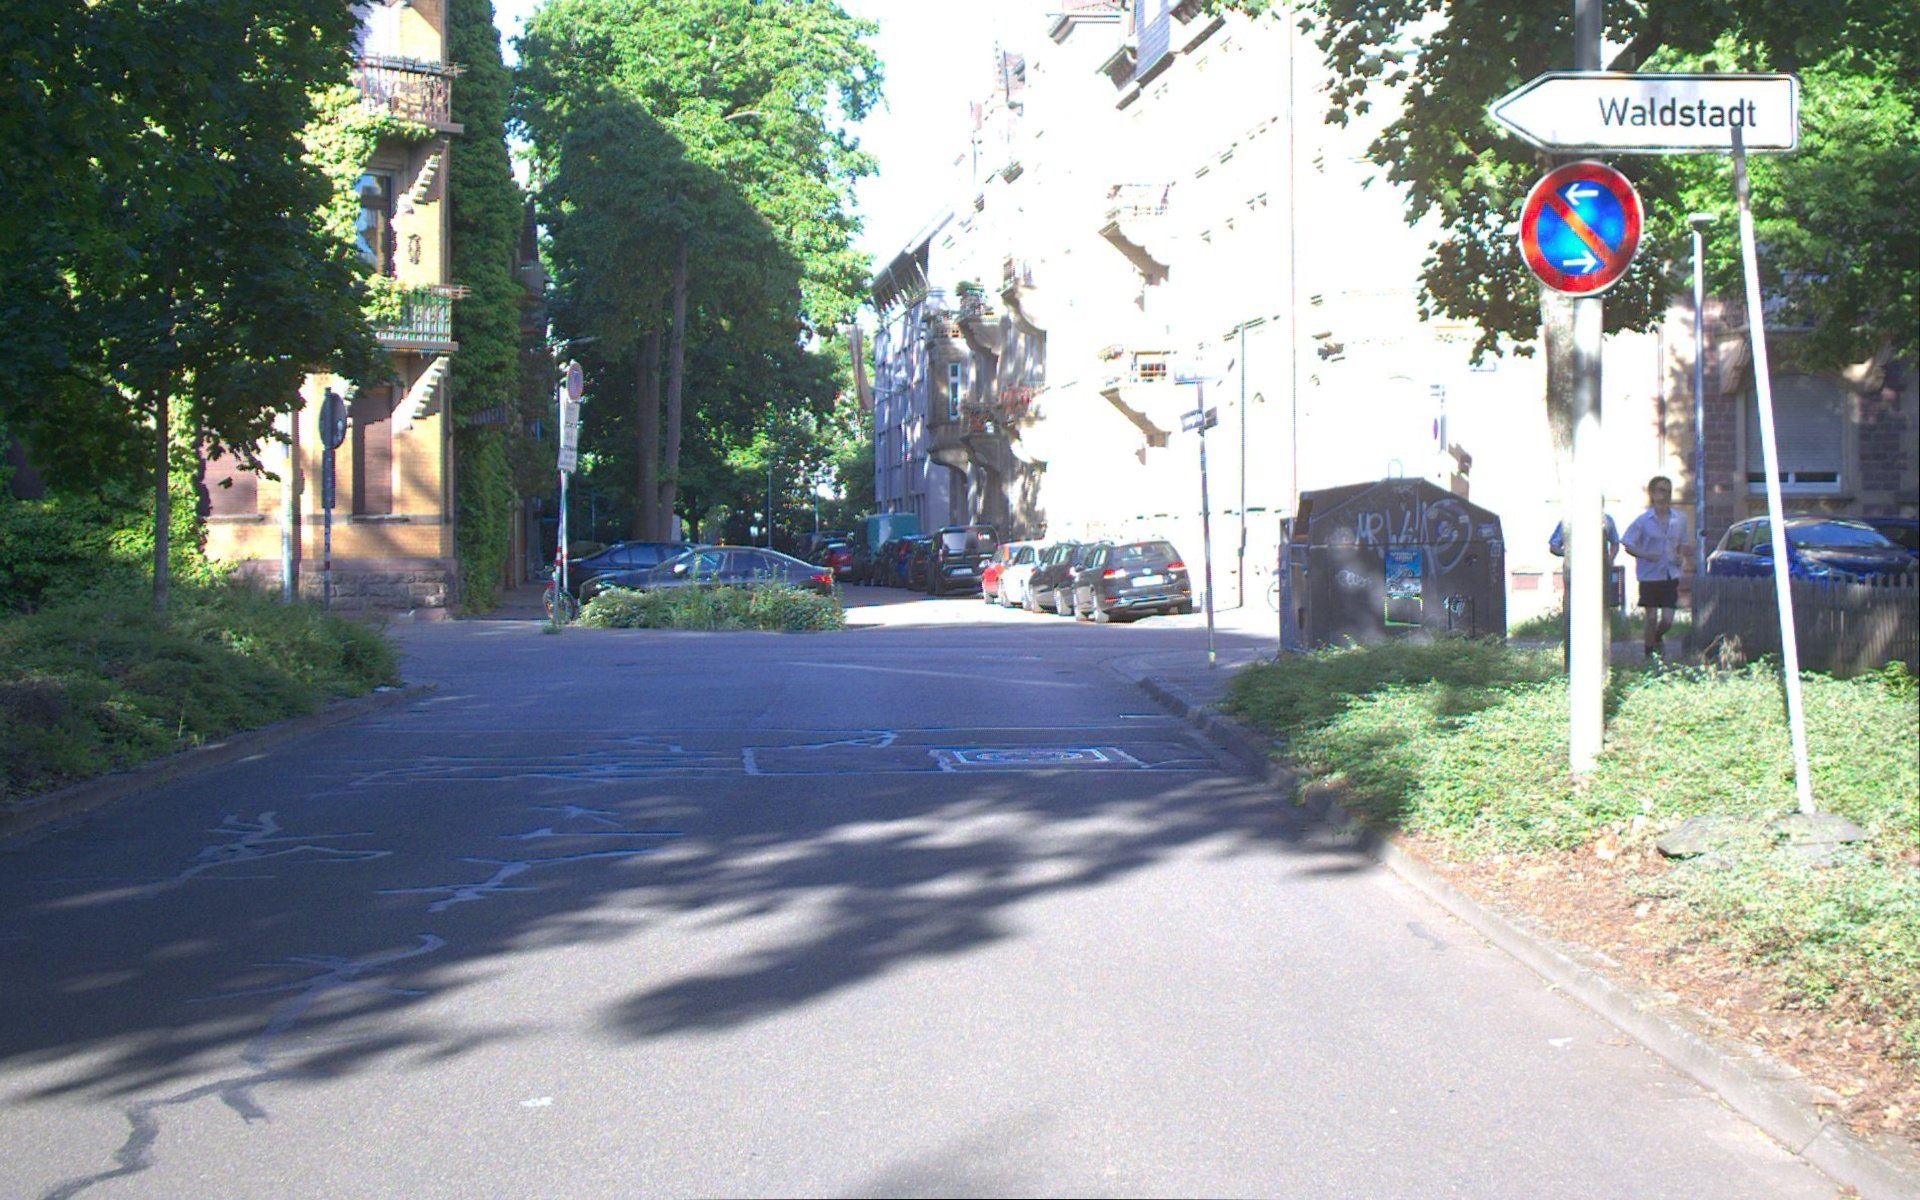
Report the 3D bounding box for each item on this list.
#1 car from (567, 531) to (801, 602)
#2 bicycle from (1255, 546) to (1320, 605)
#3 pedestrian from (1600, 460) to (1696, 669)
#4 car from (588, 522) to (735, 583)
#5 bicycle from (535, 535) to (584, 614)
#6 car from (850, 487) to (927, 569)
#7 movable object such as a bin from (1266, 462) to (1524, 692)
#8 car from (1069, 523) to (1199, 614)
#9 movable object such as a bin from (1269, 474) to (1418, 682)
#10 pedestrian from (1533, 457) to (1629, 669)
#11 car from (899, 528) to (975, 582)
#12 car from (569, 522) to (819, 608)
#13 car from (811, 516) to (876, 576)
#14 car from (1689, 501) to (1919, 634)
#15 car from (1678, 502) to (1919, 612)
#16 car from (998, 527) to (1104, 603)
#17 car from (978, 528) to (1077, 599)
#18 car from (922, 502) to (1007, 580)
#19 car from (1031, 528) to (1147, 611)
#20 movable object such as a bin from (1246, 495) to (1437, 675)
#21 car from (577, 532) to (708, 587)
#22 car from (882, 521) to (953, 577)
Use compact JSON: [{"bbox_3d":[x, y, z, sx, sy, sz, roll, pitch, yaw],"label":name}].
[{"bbox_3d":[-5.849,-0.708,72.682,4.833,1.430,1.710,1,1,-7],"label":"car"},{"bbox_3d":[5.600,-0.422,58.774,0.514,0.994,1.577,1,1,-18],"label":"bicycle"},{"bbox_3d":[6.327,-0.327,31.660,0.642,1.887,1.018,1,1,0],"label":"pedestrian"},{"bbox_3d":[-8.005,-1.270,92.110,3.800,1.570,1.711,1,1,-9],"label":"car"},{"bbox_3d":[-6.523,-0.424,56.072,0.563,1.264,1.603,-1,1,1],"label":"bicycle"},{"bbox_3d":[-2.430,-2.431,116.188,2.165,2.681,4.792,1,1,-6],"label":"car"},{"bbox_3d":[3.595,-0.199,28.619,1.920,1.847,1.393,1,1,-1],"label":"movable object such as a bin"},{"bbox_3d":[3.119,-0.583,62.289,1.737,1.576,4.001,1,1,-6],"label":"car"},{"bbox_3d":[3.445,-0.204,31.036,1.147,1.821,1.386,1,1,-1],"label":"movable object such as a bin"},{"bbox_3d":[5.615,-0.337,31.117,0.673,1.887,0.895,1,1,0],"label":"pedestrian"},{"bbox_3d":[-0.692,-1.305,99.244,1.802,1.509,4.001,1,1,-6],"label":"car"},{"bbox_3d":[-4.691,-0.618,60.272,4.242,1.430,2.001,1,1,-7],"label":"car"},{"bbox_3d":[-4.545,-2.093,133.219,2.165,2.229,4.792,1,1,-6],"label":"car"},{"bbox_3d":[10.778,-0.361,42.720,1.993,1.550,4.001,1,-1,-10],"label":"car"},{"bbox_3d":[13.540,-0.675,53.499,4.243,1.616,1.736,1,2,-10],"label":"car"},{"bbox_3d":[1.926,-0.769,73.891,1.737,1.576,4.001,1,1,-6],"label":"car"},{"bbox_3d":[1.514,-0.841,78.432,1.737,1.576,4.001,1,1,-6],"label":"car"},{"bbox_3d":[0.092,-1.558,90.800,1.802,1.997,4.001,1,1,-6],"label":"car"},{"bbox_3d":[2.539,-0.624,68.514,1.737,1.576,4.001,1,1,-6],"label":"car"},{"bbox_3d":[3.608,-0.149,32.723,1.586,1.652,1.640,1,1,-1],"label":"movable object such as a bin"},{"bbox_3d":[-9.426,-1.208,101.981,3.800,1.570,1.710,1,1,-8],"label":"car"},{"bbox_3d":[-1.332,-1.568,105.982,1.802,1.673,4.001,1,1,-6],"label":"car"}]
